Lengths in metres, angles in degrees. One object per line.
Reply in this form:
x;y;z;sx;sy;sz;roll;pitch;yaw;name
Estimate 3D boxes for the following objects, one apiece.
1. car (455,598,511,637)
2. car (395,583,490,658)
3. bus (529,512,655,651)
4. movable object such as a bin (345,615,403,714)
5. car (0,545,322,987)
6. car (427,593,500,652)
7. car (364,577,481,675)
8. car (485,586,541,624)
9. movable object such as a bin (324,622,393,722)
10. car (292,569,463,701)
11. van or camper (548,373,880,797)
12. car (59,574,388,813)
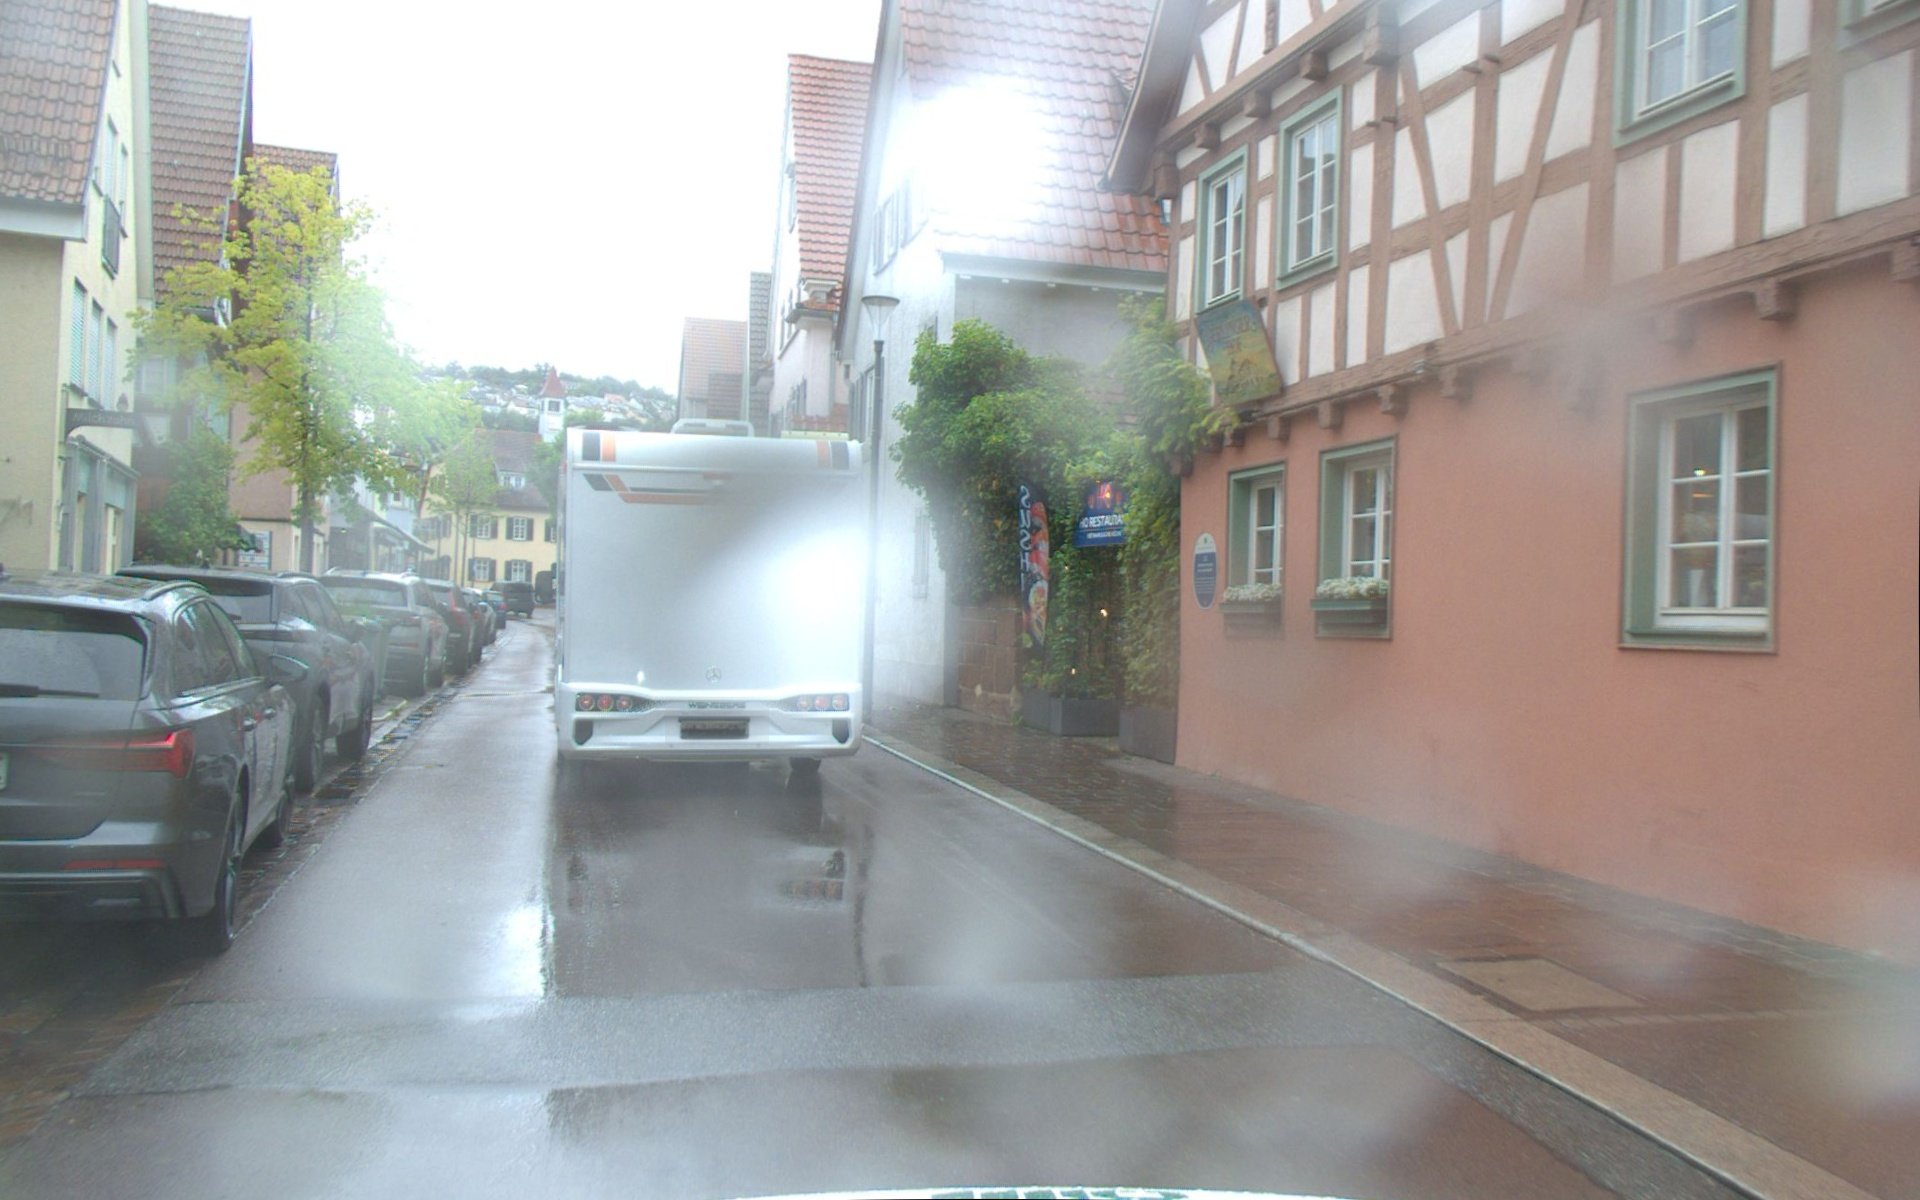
-19.702;0.706;68.191;1.964;1.497;3.977;2;-1;-19;car
-11.561;0.480;37.147;1.803;1.579;4.264;1;-1;-15;car
-9.567;-0.365;42.554;2.599;3.284;6.569;1;-1;-17;bus
-7.315;0.800;20.660;0.591;1.222;0.522;1;-2;-11;movable object such as a bin
-4.053;0.525;7.600;1.773;1.457;4.603;3;-1;-18;car
-14.189;0.661;47.400;1.796;1.594;3.984;1;-1;-14;car
-10.044;0.508;31.159;1.803;1.704;4.522;1;-1;-15;car
-25.009;0.319;92.463;1.974;2.049;3.955;1;-2;-32;car
-6.738;0.801;18.540;0.610;1.098;0.723;1;-2;-12;movable object such as a bin
-8.382;0.518;24.153;1.741;1.704;4.465;2;-2;-12;car
-2.498;-0.028;14.966;2.287;2.970;6.367;1;-1;-15;van or camper
-5.590;0.667;13.028;1.565;1.573;3.964;1;-1;-13;car
